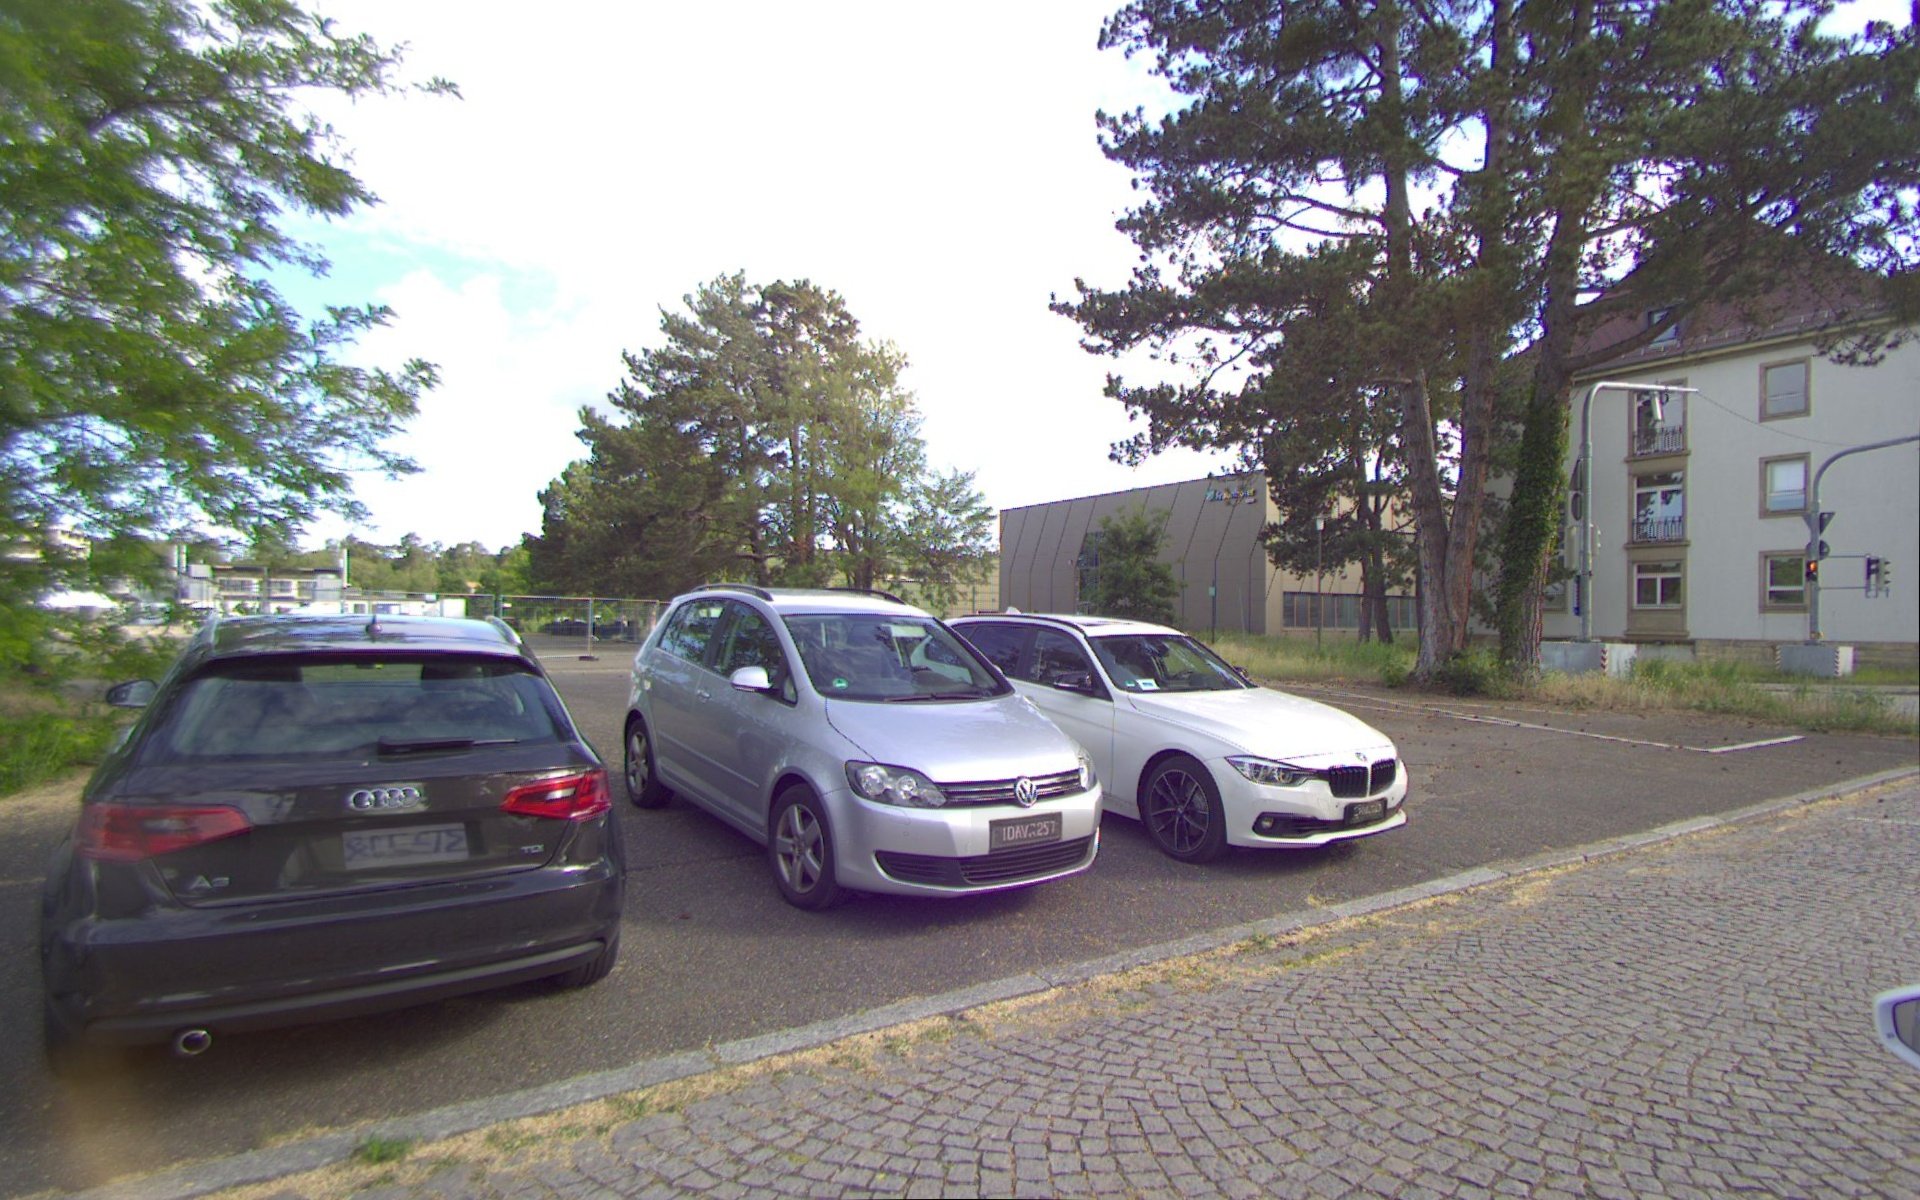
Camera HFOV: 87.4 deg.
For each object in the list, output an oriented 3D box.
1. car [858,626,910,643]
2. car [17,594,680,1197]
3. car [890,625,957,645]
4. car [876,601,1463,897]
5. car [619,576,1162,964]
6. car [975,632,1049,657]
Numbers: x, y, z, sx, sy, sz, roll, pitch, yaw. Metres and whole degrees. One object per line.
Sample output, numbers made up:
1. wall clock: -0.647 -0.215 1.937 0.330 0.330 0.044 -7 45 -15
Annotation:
1. car: -5.551 2.507 73.452 3.622 1.217 1.319 1 -1 -30
2. car: -2.703 0.762 4.621 1.677 1.427 3.813 1 1 -33
3. car: -2.419 2.306 66.775 4.147 1.289 1.598 1 -1 -30
4. car: 1.264 0.840 7.881 1.812 1.461 4.447 1 1 -35
5. car: -0.733 0.706 6.361 1.718 1.629 3.806 1 1 -35
6. car: 3.088 2.601 59.380 4.082 1.433 1.750 1 -1 -30
